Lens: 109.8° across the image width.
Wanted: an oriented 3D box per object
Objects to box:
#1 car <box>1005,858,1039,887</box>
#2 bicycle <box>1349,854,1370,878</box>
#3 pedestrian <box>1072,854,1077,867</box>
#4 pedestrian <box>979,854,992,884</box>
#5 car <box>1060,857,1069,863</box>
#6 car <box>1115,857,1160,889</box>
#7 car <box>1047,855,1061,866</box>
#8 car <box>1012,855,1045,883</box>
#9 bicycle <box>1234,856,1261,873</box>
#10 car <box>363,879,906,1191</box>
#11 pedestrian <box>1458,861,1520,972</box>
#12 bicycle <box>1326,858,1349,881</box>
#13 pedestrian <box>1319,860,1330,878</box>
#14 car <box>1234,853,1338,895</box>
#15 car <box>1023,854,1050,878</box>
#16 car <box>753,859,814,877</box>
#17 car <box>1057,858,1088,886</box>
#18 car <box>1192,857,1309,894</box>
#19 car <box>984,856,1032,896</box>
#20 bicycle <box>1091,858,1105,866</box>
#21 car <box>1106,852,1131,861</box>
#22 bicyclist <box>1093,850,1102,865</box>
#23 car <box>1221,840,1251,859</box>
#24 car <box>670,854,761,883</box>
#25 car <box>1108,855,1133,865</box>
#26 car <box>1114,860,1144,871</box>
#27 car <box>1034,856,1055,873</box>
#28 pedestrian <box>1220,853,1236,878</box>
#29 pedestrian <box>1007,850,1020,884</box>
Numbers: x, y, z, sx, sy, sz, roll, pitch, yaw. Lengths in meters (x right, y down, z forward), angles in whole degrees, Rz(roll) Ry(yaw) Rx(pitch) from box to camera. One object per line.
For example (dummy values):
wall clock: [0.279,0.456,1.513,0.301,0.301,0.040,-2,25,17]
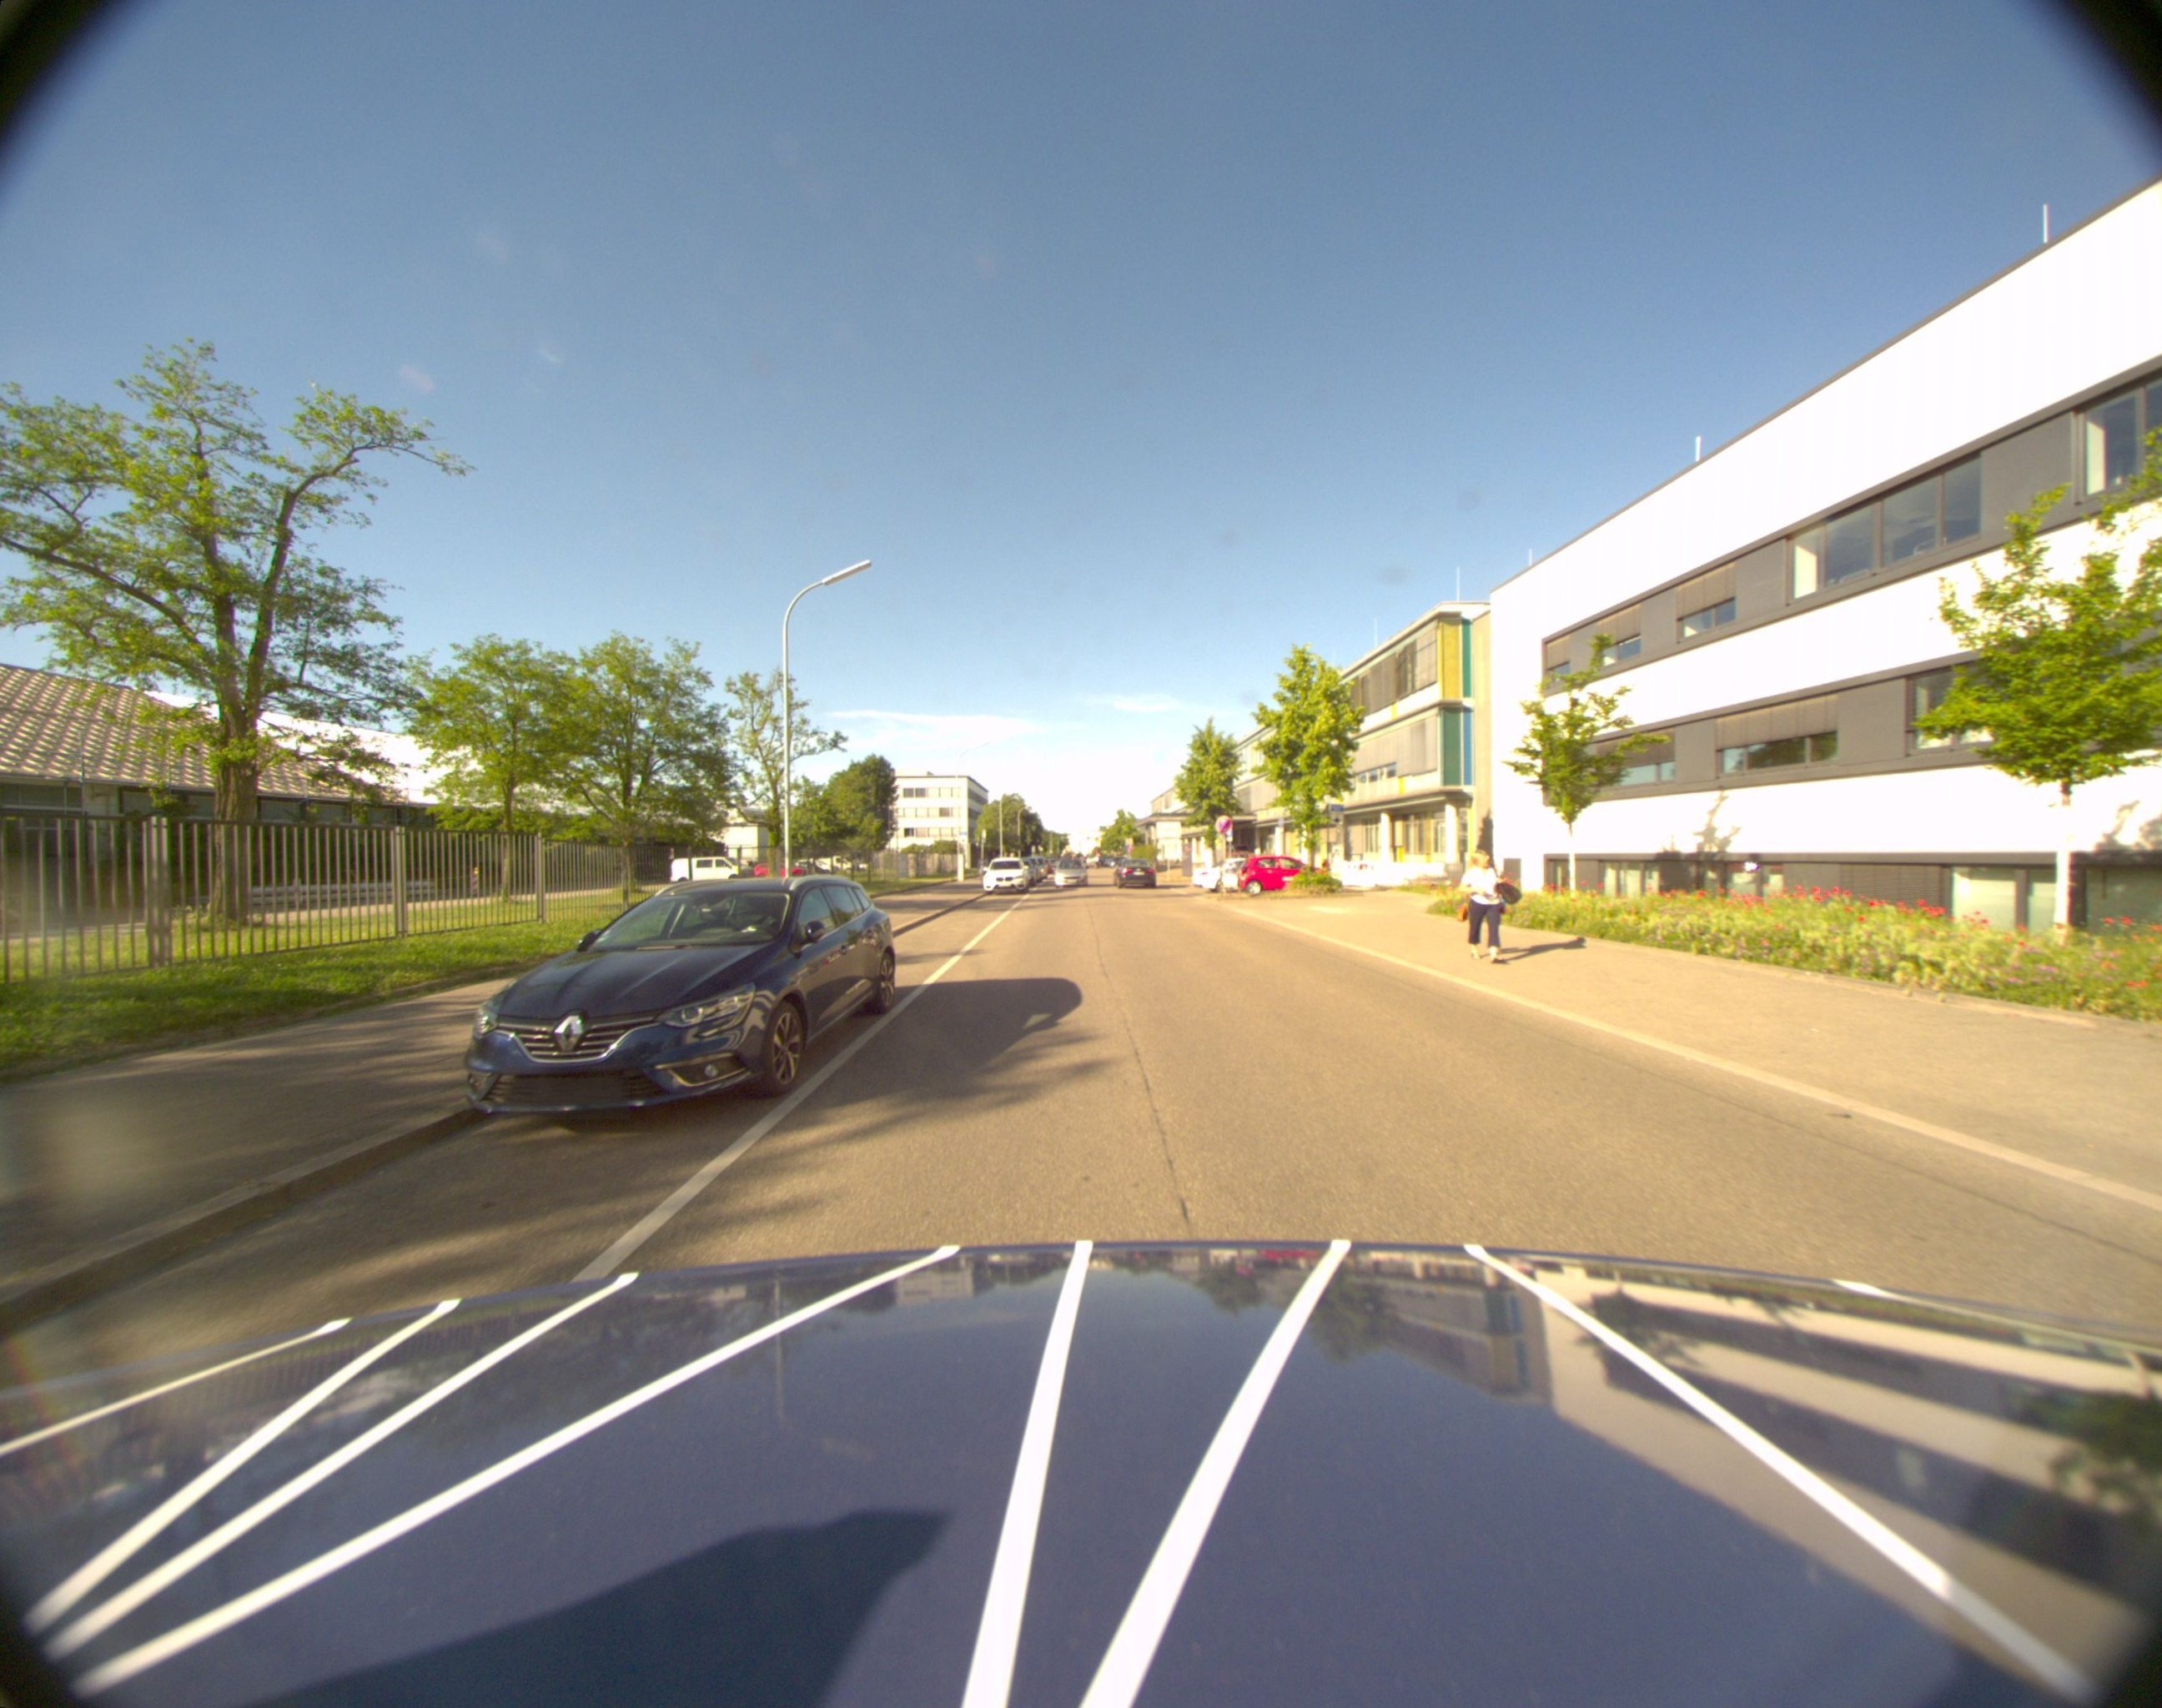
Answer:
car: [-3.239,0.981,42.076,1.705,1.479,3.979,-2,0,-3]
bicycle: [13.573,0.576,37.040,0.421,1.117,1.763,0,0,1]
pedestrian: [-0.841,0.904,100.572,0.693,1.718,0.775,1,1,-1]
pedestrian: [-5.280,0.815,42.152,0.540,1.602,0.683,-3,1,0]
car: [-4.076,1.430,191.800,1.999,1.382,3.998,1,0,-5]
car: [2.757,0.913,38.095,1.766,1.433,4.536,0,0,-2]
car: [-3.760,0.912,106.787,1.668,1.505,4.114,-2,0,0]
car: [-3.271,0.902,47.832,1.705,1.597,4.352,-2,0,0]
bicycle: [11.101,0.706,50.732,1.706,1.115,0.536,0,1,5]
car: [-2.867,1.037,6.162,1.822,1.444,4.214,-3,0,0]
pedestrian: [5.740,0.862,10.718,0.539,1.515,0.607,-1,1,1]
bicycle: [12.786,0.740,37.914,0.536,1.105,1.861,0,0,2]
pedestrian: [16.084,1.019,50.212,0.533,1.166,0.556,-1,1,0]
car: [7.850,0.747,29.374,3.642,1.460,1.615,-2,0,6]
car: [-3.292,0.864,57.109,1.814,1.712,4.703,-2,0,-1]
car: [-23.799,1.108,60.844,4.154,1.245,1.828,-3,0,-3]
car: [-0.429,0.898,39.974,1.551,1.389,3.454,0,0,-1]
car: [7.016,0.896,31.819,4.522,1.359,1.700,-2,0,2]
car: [-3.229,0.937,34.341,1.818,1.579,4.261,-2,0,-2]
bicycle: [2.319,1.119,105.107,1.884,1.002,0.701,-1,0,-5]
car: [6.515,0.443,132.893,4.102,1.414,1.823,-2,1,-2]
bicyclist: [2.306,0.488,105.103,1.052,2.002,0.959,-1,1,-5]
car: [15.366,-0.445,75.569,1.924,1.880,4.711,0,0,-1]
car: [-24.405,0.958,50.927,4.979,1.635,2.095,-3,0,-3]
car: [6.482,0.948,125.741,3.992,1.480,1.823,-2,1,-2]
car: [6.983,1.627,109.863,4.142,1.458,1.753,-1,0,-2]
car: [-3.516,0.966,73.485,1.814,1.501,4.721,-2,0,-1]
pedestrian: [9.163,0.723,47.416,0.775,1.540,0.780,-3,1,0]
pedestrian: [-3.363,0.650,38.021,0.522,1.699,0.523,-3,1,1]
